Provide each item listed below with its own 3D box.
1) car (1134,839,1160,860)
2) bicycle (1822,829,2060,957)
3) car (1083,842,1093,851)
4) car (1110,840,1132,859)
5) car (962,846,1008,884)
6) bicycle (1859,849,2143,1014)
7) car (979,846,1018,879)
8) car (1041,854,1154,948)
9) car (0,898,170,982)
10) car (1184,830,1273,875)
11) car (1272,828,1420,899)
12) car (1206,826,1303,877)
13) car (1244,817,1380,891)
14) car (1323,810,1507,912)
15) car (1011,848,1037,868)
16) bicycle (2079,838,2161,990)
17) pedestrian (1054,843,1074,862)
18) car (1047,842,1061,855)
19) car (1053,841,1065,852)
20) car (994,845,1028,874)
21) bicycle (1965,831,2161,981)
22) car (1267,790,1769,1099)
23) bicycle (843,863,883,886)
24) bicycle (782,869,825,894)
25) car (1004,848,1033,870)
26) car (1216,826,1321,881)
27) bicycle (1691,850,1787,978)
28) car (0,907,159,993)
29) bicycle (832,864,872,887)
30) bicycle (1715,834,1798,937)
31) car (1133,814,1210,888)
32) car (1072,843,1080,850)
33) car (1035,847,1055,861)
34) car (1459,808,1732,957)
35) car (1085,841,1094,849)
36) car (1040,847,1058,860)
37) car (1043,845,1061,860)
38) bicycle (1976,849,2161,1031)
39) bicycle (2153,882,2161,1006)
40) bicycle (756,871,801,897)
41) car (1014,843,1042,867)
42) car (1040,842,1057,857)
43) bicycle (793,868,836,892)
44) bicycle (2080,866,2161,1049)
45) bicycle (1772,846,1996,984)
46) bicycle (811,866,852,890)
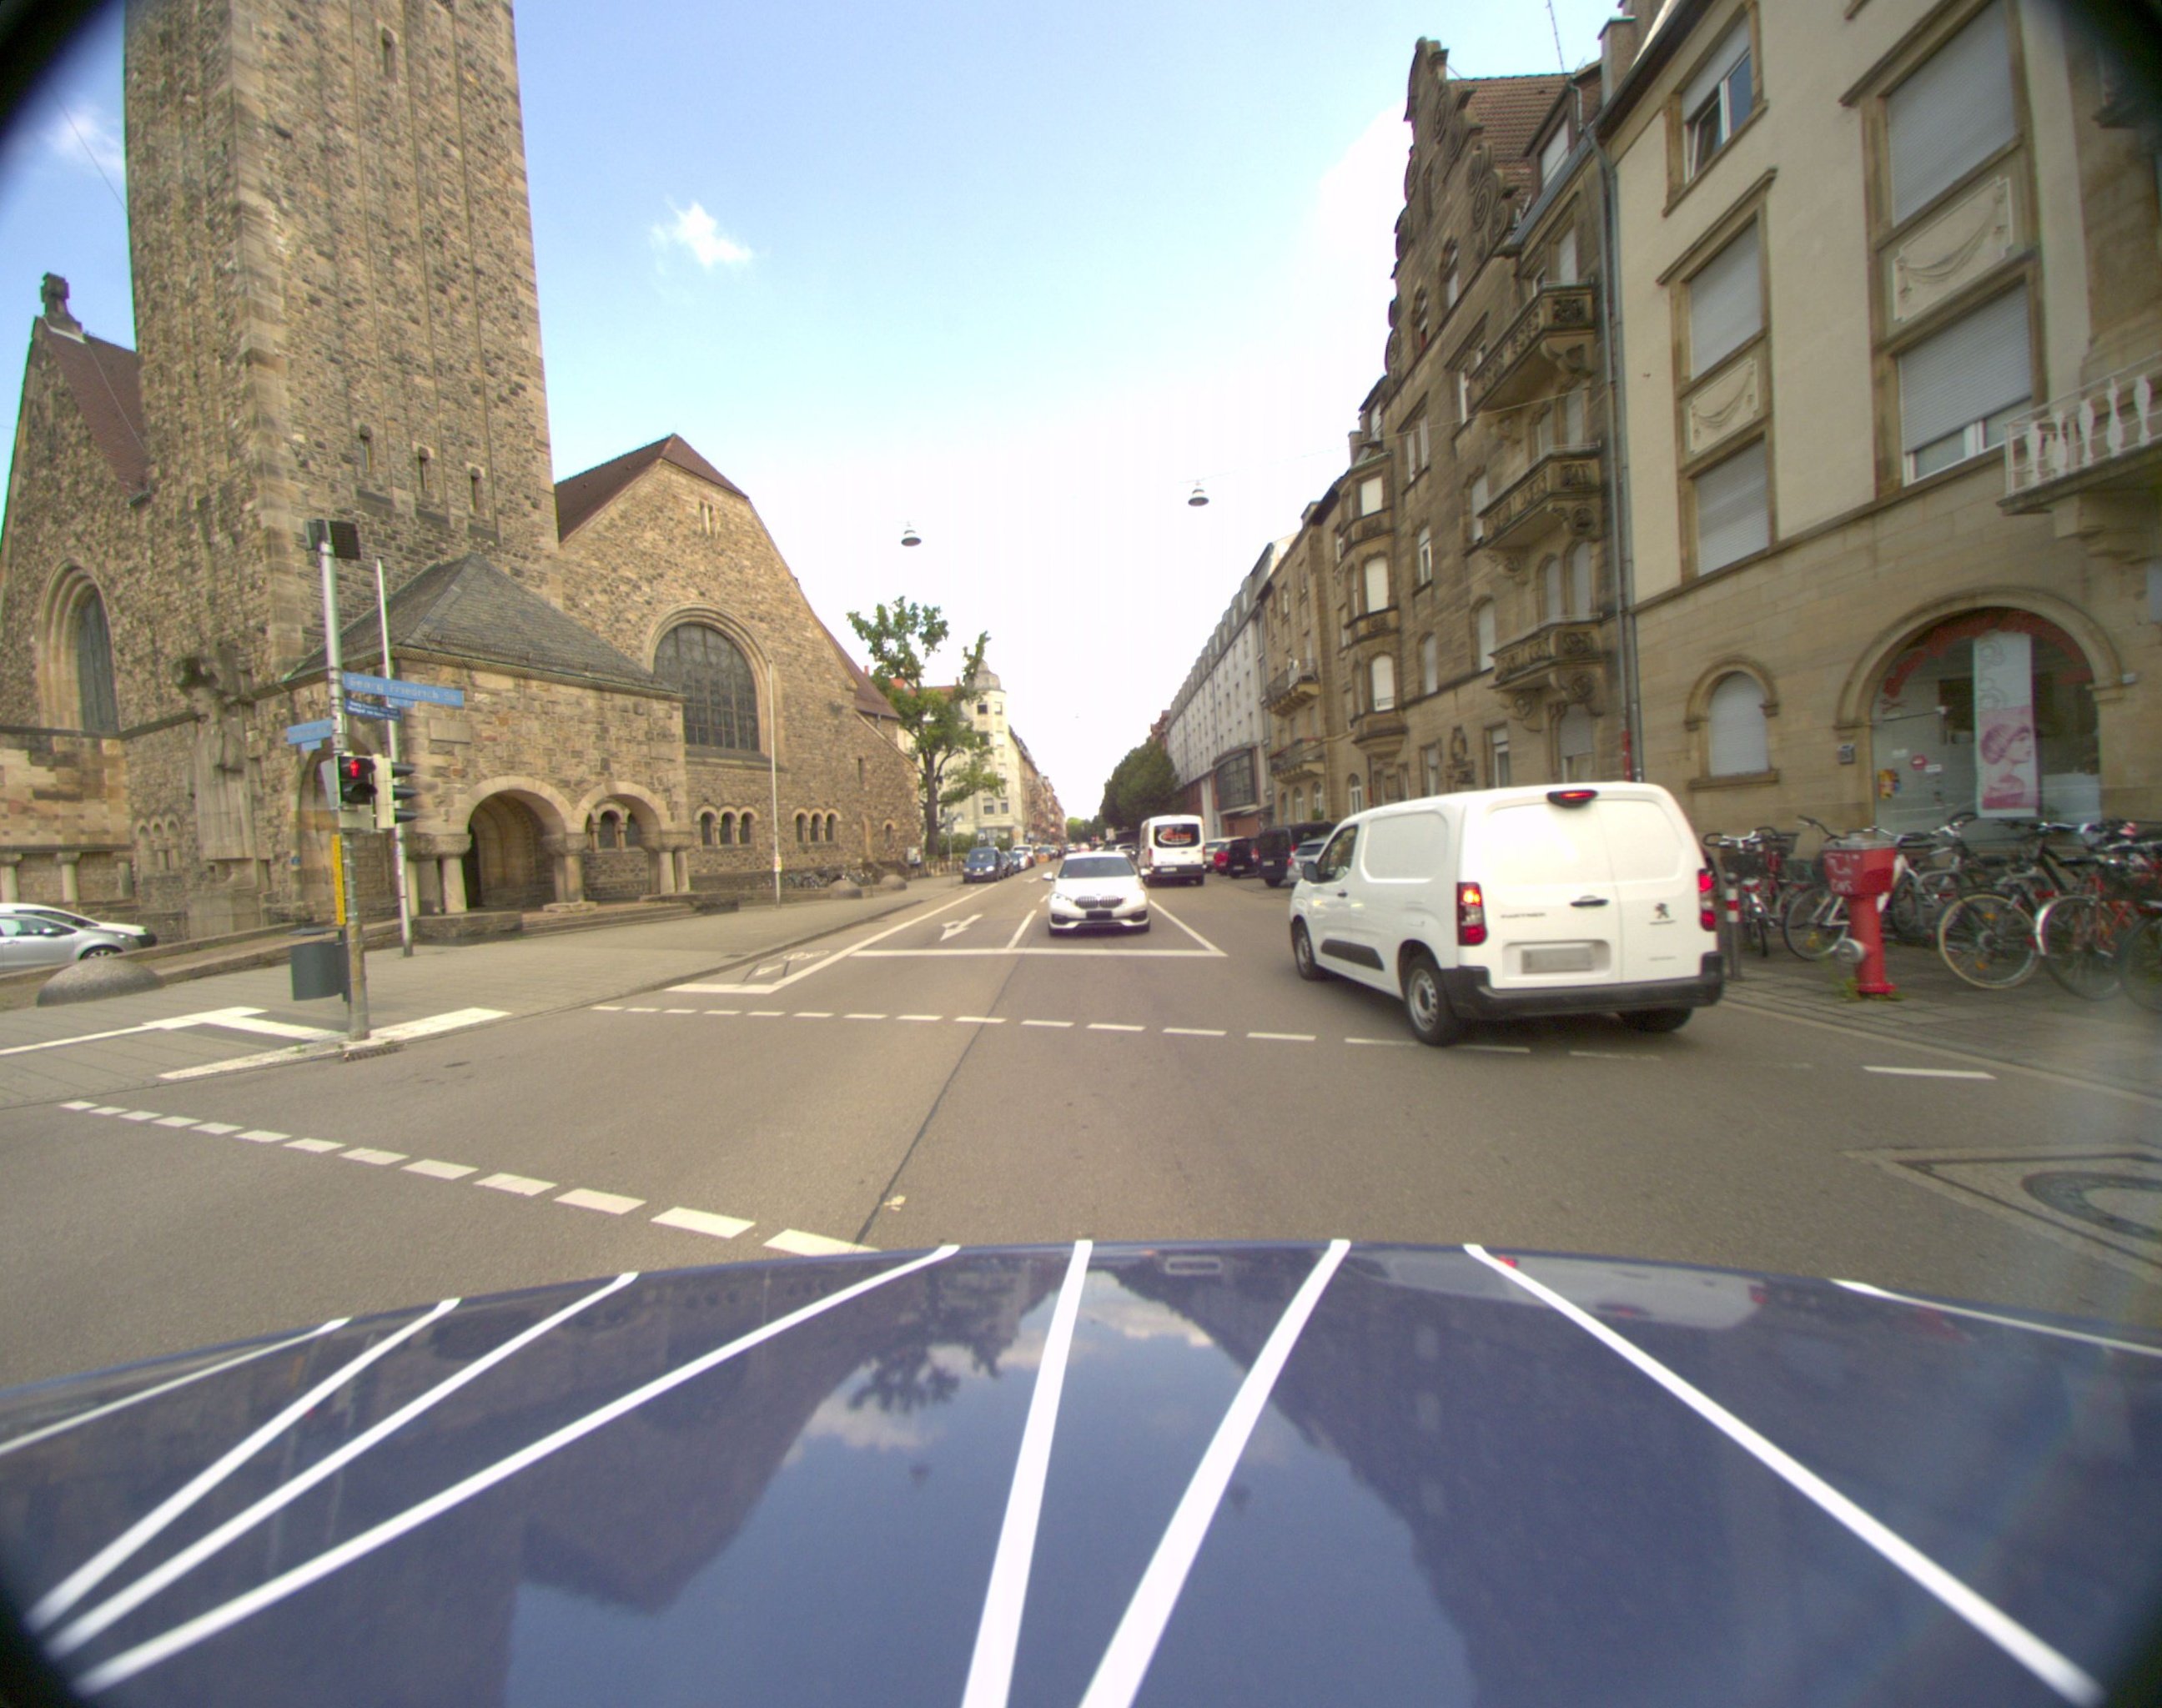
[{"bbox_3d":[5.457,-0.375,63.260,1.891,1.556,3.890,-4,1,2],"label":"car"},{"bbox_3d":[8.377,0.367,7.437,1.631,1.046,0.558,-6,1,0],"label":"bicycle"},{"bbox_3d":[1.390,-1.557,151.141,1.809,1.590,4.186,-4,1,2],"label":"car"},{"bbox_3d":[3.702,-0.456,70.857,1.891,1.642,3.890,-4,1,2],"label":"car"},{"bbox_3d":[-4.964,0.507,39.795,1.683,1.781,4.145,-4,1,2],"label":"car"},{"bbox_3d":[6.869,0.562,5.710,1.483,1.046,0.462,-6,1,1],"label":"bicycle"},{"bbox_3d":[-4.828,0.447,45.067,1.683,1.781,4.000,-4,1,2],"label":"car"},{"bbox_3d":[0.340,0.775,14.789,1.826,1.440,4.386,-2,1,2],"label":"car"},{"bbox_3d":[-26.887,2.240,19.315,1.996,1.842,4.312,-5,-1,25],"label":"car"},{"bbox_3d":[6.878,-0.077,35.240,3.960,1.576,1.727,-8,1,-38],"label":"car"},{"bbox_3d":[7.164,0.237,20.405,3.960,1.421,1.727,-7,0,-37],"label":"car"},{"bbox_3d":[7.333,-0.108,31.950,3.959,1.576,1.727,-9,2,-38],"label":"car"},{"bbox_3d":[7.128,-0.018,23.320,3.959,1.857,1.727,-6,1,-33],"label":"car"},{"bbox_3d":[7.192,0.120,16.215,3.960,1.680,1.799,-7,0,-38],"label":"car"},{"bbox_3d":[-4.575,0.288,61.508,1.683,1.488,3.890,-4,1,2],"label":"car"},{"bbox_3d":[8.495,0.385,5.630,1.483,1.046,0.462,-6,1,2],"label":"bicycle"},{"bbox_3d":[-1.603,-0.131,71.830,1.316,1.748,1.370,-5,1,-36],"label":"pedestrian"},{"bbox_3d":[-3.936,-0.799,111.578,1.809,1.756,4.186,-4,1,2],"label":"car"},{"bbox_3d":[-4.062,-1.481,141.126,1.809,1.902,4.186,-4,1,2],"label":"car"},{"bbox_3d":[-4.700,0.306,51.326,1.683,1.781,4.000,-4,1,2],"label":"car"},{"bbox_3d":[8.275,0.401,6.233,1.483,1.046,0.462,-6,1,-2],"label":"bicycle"},{"bbox_3d":[3.165,0.549,6.717,1.817,1.765,4.283,-3,0,-2],"label":"car"},{"bbox_3d":[-11.154,1.055,38.873,1.935,1.106,0.587,0,3,22],"label":"bicycle"},{"bbox_3d":[-12.854,1.249,35.170,1.935,1.106,0.587,0,3,22],"label":"bicycle"},{"bbox_3d":[-4.581,0.371,56.096,1.683,1.439,3.798,-4,1,2],"label":"car"},{"bbox_3d":[7.233,-0.029,29.167,3.959,1.576,1.727,-8,2,-38],"label":"car"},{"bbox_3d":[6.772,0.565,7.787,1.815,1.046,0.556,-6,1,-45],"label":"bicycle"},{"bbox_3d":[-24.085,2.232,17.196,1.815,1.668,3.643,-5,-1,22],"label":"car"},{"bbox_3d":[-11.500,1.093,38.147,1.935,1.106,0.587,0,3,22],"label":"bicycle"},{"bbox_3d":[8.369,0.351,9.381,1.907,1.046,0.556,-6,1,-44],"label":"bicycle"},{"bbox_3d":[3.290,-0.076,28.826,2.081,2.430,5.945,-2,0,0],"label":"car"},{"bbox_3d":[-1.205,-1.810,188.158,1.809,1.654,4.186,-4,1,2],"label":"car"},{"bbox_3d":[-3.989,-0.032,84.043,1.809,1.360,4.186,-4,1,2],"label":"car"},{"bbox_3d":[7.151,0.304,10.431,4.005,1.448,1.808,-7,1,-37],"label":"car"},{"bbox_3d":[1.737,-1.897,158.474,1.809,1.590,4.186,-4,1,2],"label":"car"},{"bbox_3d":[-3.756,-0.028,89.649,1.809,1.360,4.186,-4,1,2],"label":"car"},{"bbox_3d":[-3.593,-0.207,94.060,1.809,1.675,4.186,-4,1,2],"label":"car"},{"bbox_3d":[7.041,0.560,5.162,1.372,1.046,0.418,-6,1,-1],"label":"bicycle"},{"bbox_3d":[6.706,0.608,3.691,1.733,1.046,0.531,-6,1,17],"label":"bicycle"},{"bbox_3d":[-13.428,1.319,33.701,1.935,1.106,0.587,0,3,22],"label":"bicycle"},{"bbox_3d":[-4.556,0.042,65.803,1.844,1.927,4.186,-4,1,2],"label":"car"},{"bbox_3d":[-4.189,-0.638,98.066,1.809,1.756,4.186,-4,1,2],"label":"car"},{"bbox_3d":[-12.571,1.215,35.829,1.935,1.106,0.587,0,3,22],"label":"bicycle"},{"bbox_3d":[7.184,0.564,4.518,1.580,1.046,0.481,-6,1,8],"label":"bicycle"},{"bbox_3d":[7.160,0.528,6.804,1.483,1.046,0.462,-6,1,-2],"label":"bicycle"},{"bbox_3d":[-12.047,1.162,36.688,1.935,1.106,0.587,0,3,22],"label":"bicycle"}]
